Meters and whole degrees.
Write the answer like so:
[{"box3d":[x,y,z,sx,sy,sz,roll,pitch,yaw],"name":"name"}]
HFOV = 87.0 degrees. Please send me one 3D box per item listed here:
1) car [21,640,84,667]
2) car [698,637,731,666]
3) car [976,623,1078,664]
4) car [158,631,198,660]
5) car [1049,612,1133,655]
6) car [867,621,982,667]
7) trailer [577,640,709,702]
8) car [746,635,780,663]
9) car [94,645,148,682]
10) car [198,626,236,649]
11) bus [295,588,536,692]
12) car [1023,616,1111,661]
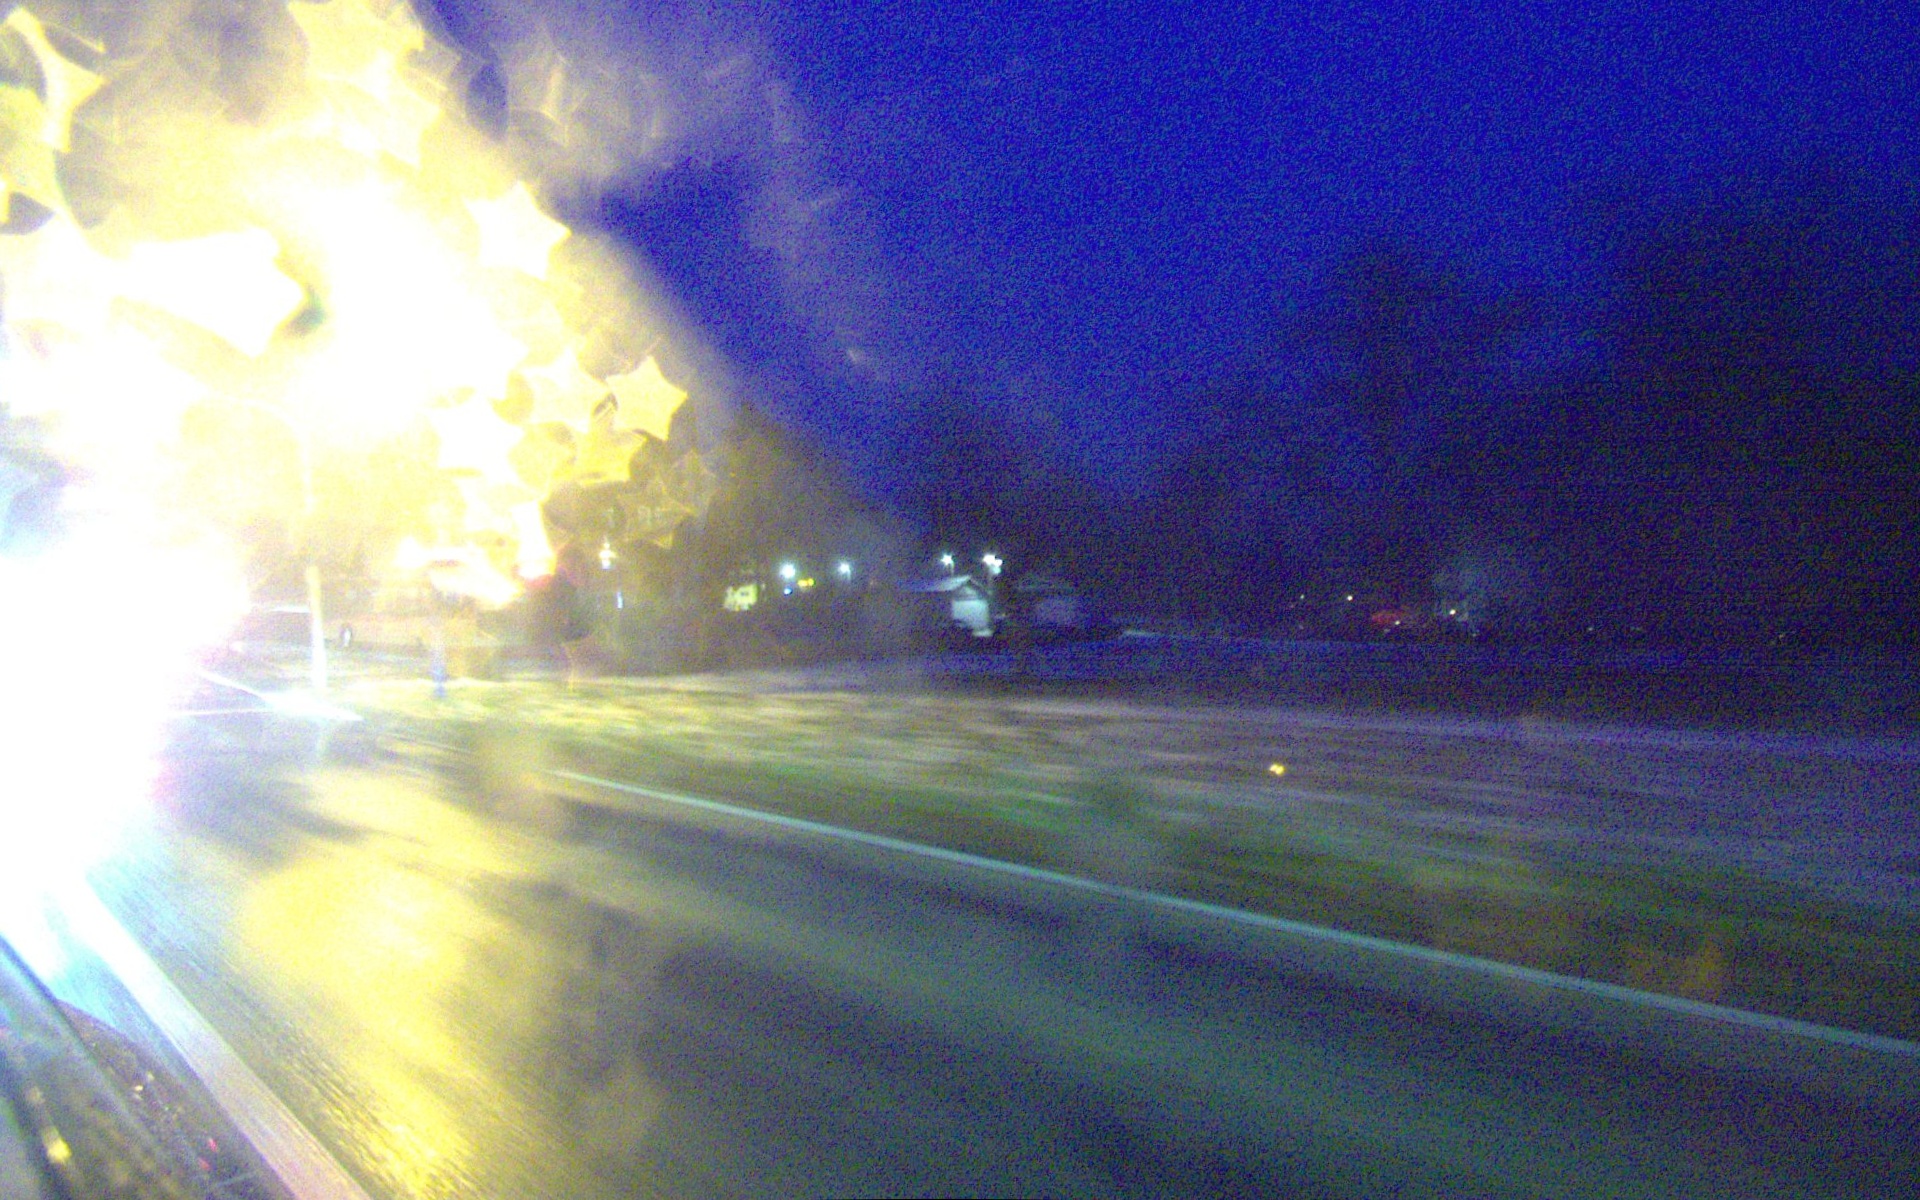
[{"box3d":[-51.385,3.016,57.307,3.352,1.302,1.577,0,2,27],"name":"car"},{"box3d":[-14.936,3.108,61.696,1.830,1.408,4.051,2,1,-13],"name":"car"},{"box3d":[3.223,2.064,49.120,4.617,1.710,1.920,0,2,35],"name":"car"},{"box3d":[-47.800,2.739,61.914,1.672,1.611,3.811,0,-1,-34],"name":"car"},{"box3d":[6.883,1.732,53.205,3.988,2.071,1.745,0,2,33],"name":"car"},{"box3d":[-1.535,1.800,42.527,4.617,1.710,1.920,0,2,35],"name":"car"},{"box3d":[-9.317,2.038,29.625,4.098,1.690,1.794,-3,-4,41],"name":"trailer"},{"box3d":[-12.087,2.971,62.075,1.830,1.408,4.051,2,1,-13],"name":"car"},{"box3d":[-35.899,2.695,43.374,1.614,1.522,4.125,2,-4,-38],"name":"car"},{"box3d":[-54.549,2.743,74.359,1.688,1.487,3.881,-2,1,-29],"name":"car"},{"box3d":[-23.113,1.571,42.444,13.016,3.898,2.871,-1,0,32],"name":"bus"},{"box3d":[5.402,1.901,51.258,3.988,2.071,1.978,0,2,33],"name":"car"}]
